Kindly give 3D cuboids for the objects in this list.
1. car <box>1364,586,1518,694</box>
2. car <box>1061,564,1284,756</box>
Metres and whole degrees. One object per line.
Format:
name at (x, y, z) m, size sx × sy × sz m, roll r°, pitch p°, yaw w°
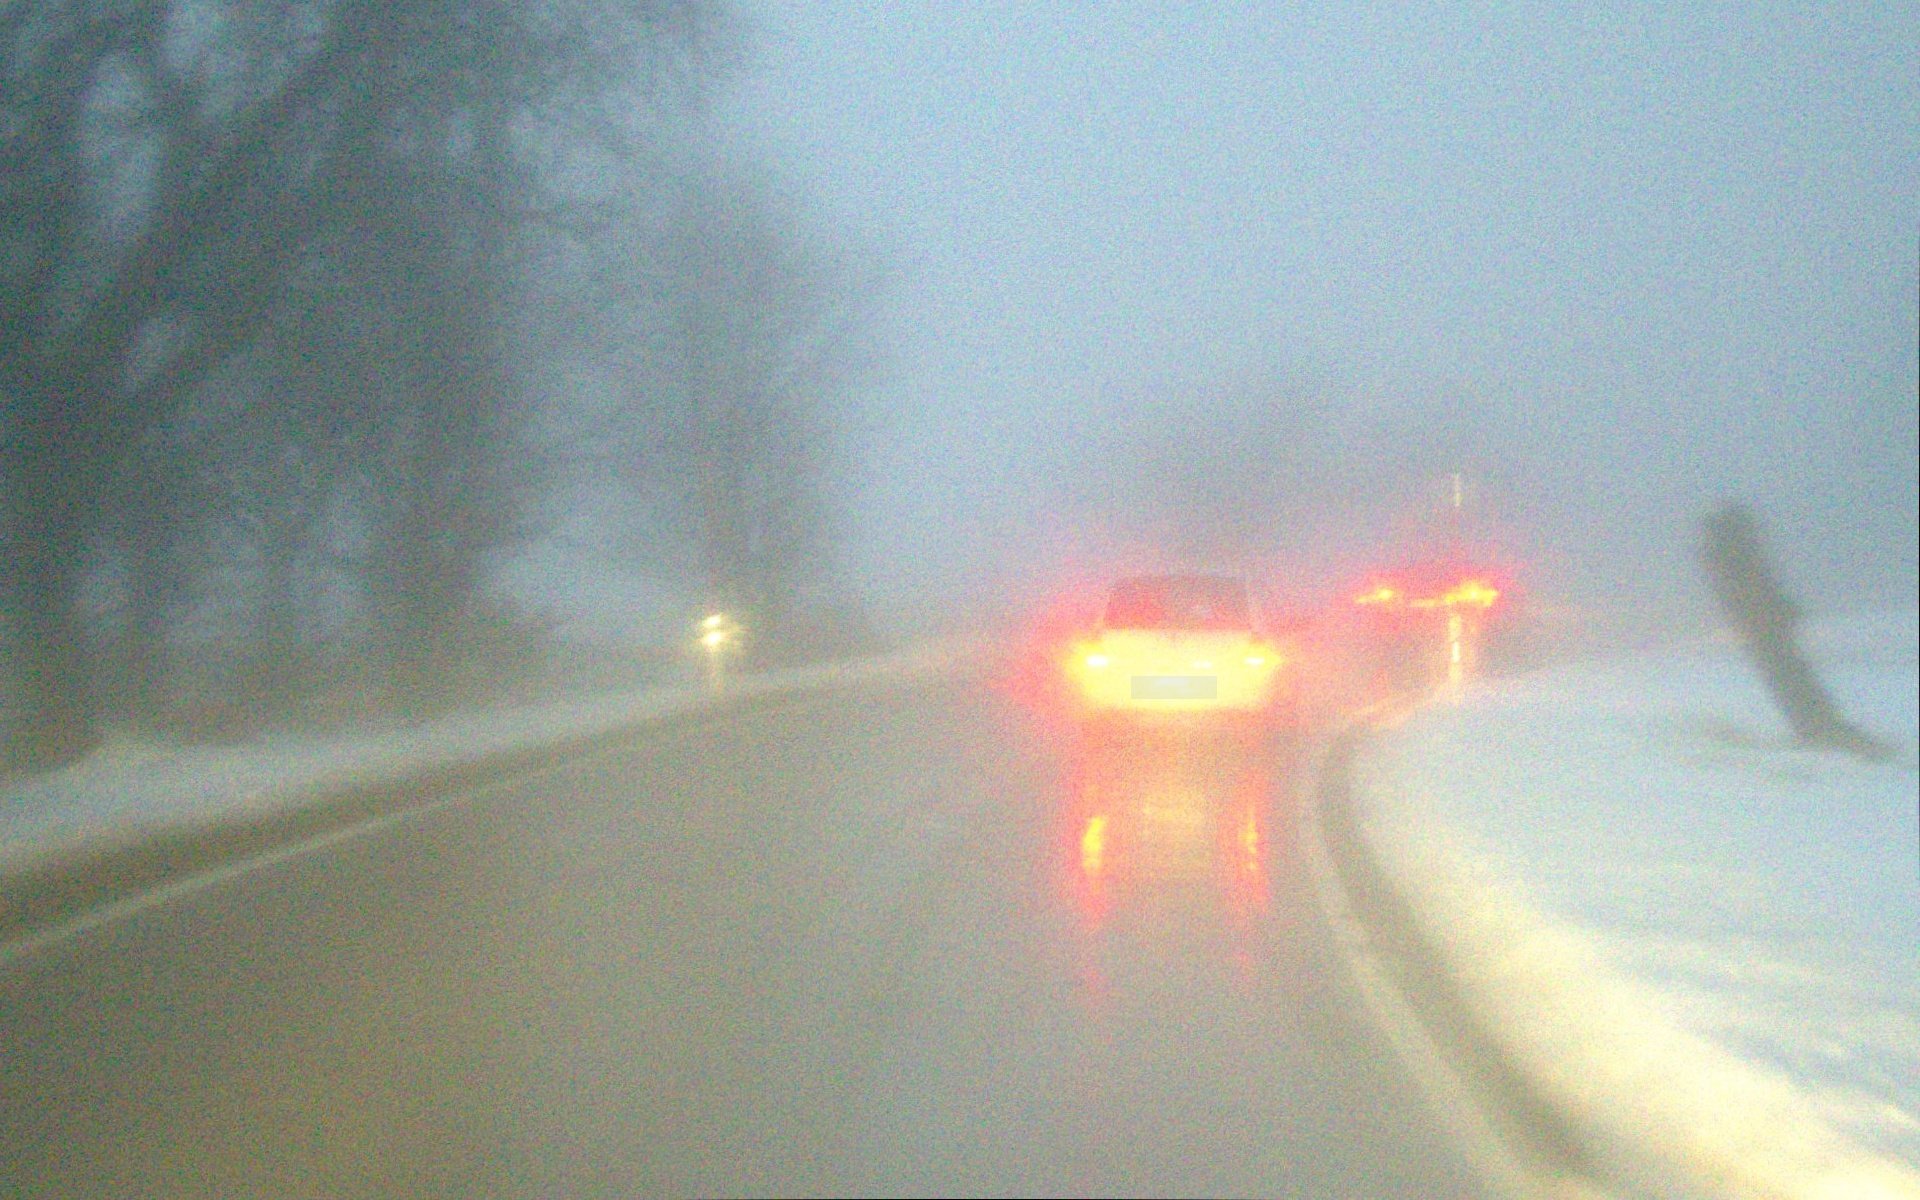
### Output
car at (7.089, 0.562, 50.465) m, size 1.480 × 1.503 × 3.049 m, roll 0°, pitch 1°, yaw 23°
car at (1.778, 0.447, 28.919) m, size 1.707 × 1.458 × 4.000 m, roll 2°, pitch 1°, yaw 3°
